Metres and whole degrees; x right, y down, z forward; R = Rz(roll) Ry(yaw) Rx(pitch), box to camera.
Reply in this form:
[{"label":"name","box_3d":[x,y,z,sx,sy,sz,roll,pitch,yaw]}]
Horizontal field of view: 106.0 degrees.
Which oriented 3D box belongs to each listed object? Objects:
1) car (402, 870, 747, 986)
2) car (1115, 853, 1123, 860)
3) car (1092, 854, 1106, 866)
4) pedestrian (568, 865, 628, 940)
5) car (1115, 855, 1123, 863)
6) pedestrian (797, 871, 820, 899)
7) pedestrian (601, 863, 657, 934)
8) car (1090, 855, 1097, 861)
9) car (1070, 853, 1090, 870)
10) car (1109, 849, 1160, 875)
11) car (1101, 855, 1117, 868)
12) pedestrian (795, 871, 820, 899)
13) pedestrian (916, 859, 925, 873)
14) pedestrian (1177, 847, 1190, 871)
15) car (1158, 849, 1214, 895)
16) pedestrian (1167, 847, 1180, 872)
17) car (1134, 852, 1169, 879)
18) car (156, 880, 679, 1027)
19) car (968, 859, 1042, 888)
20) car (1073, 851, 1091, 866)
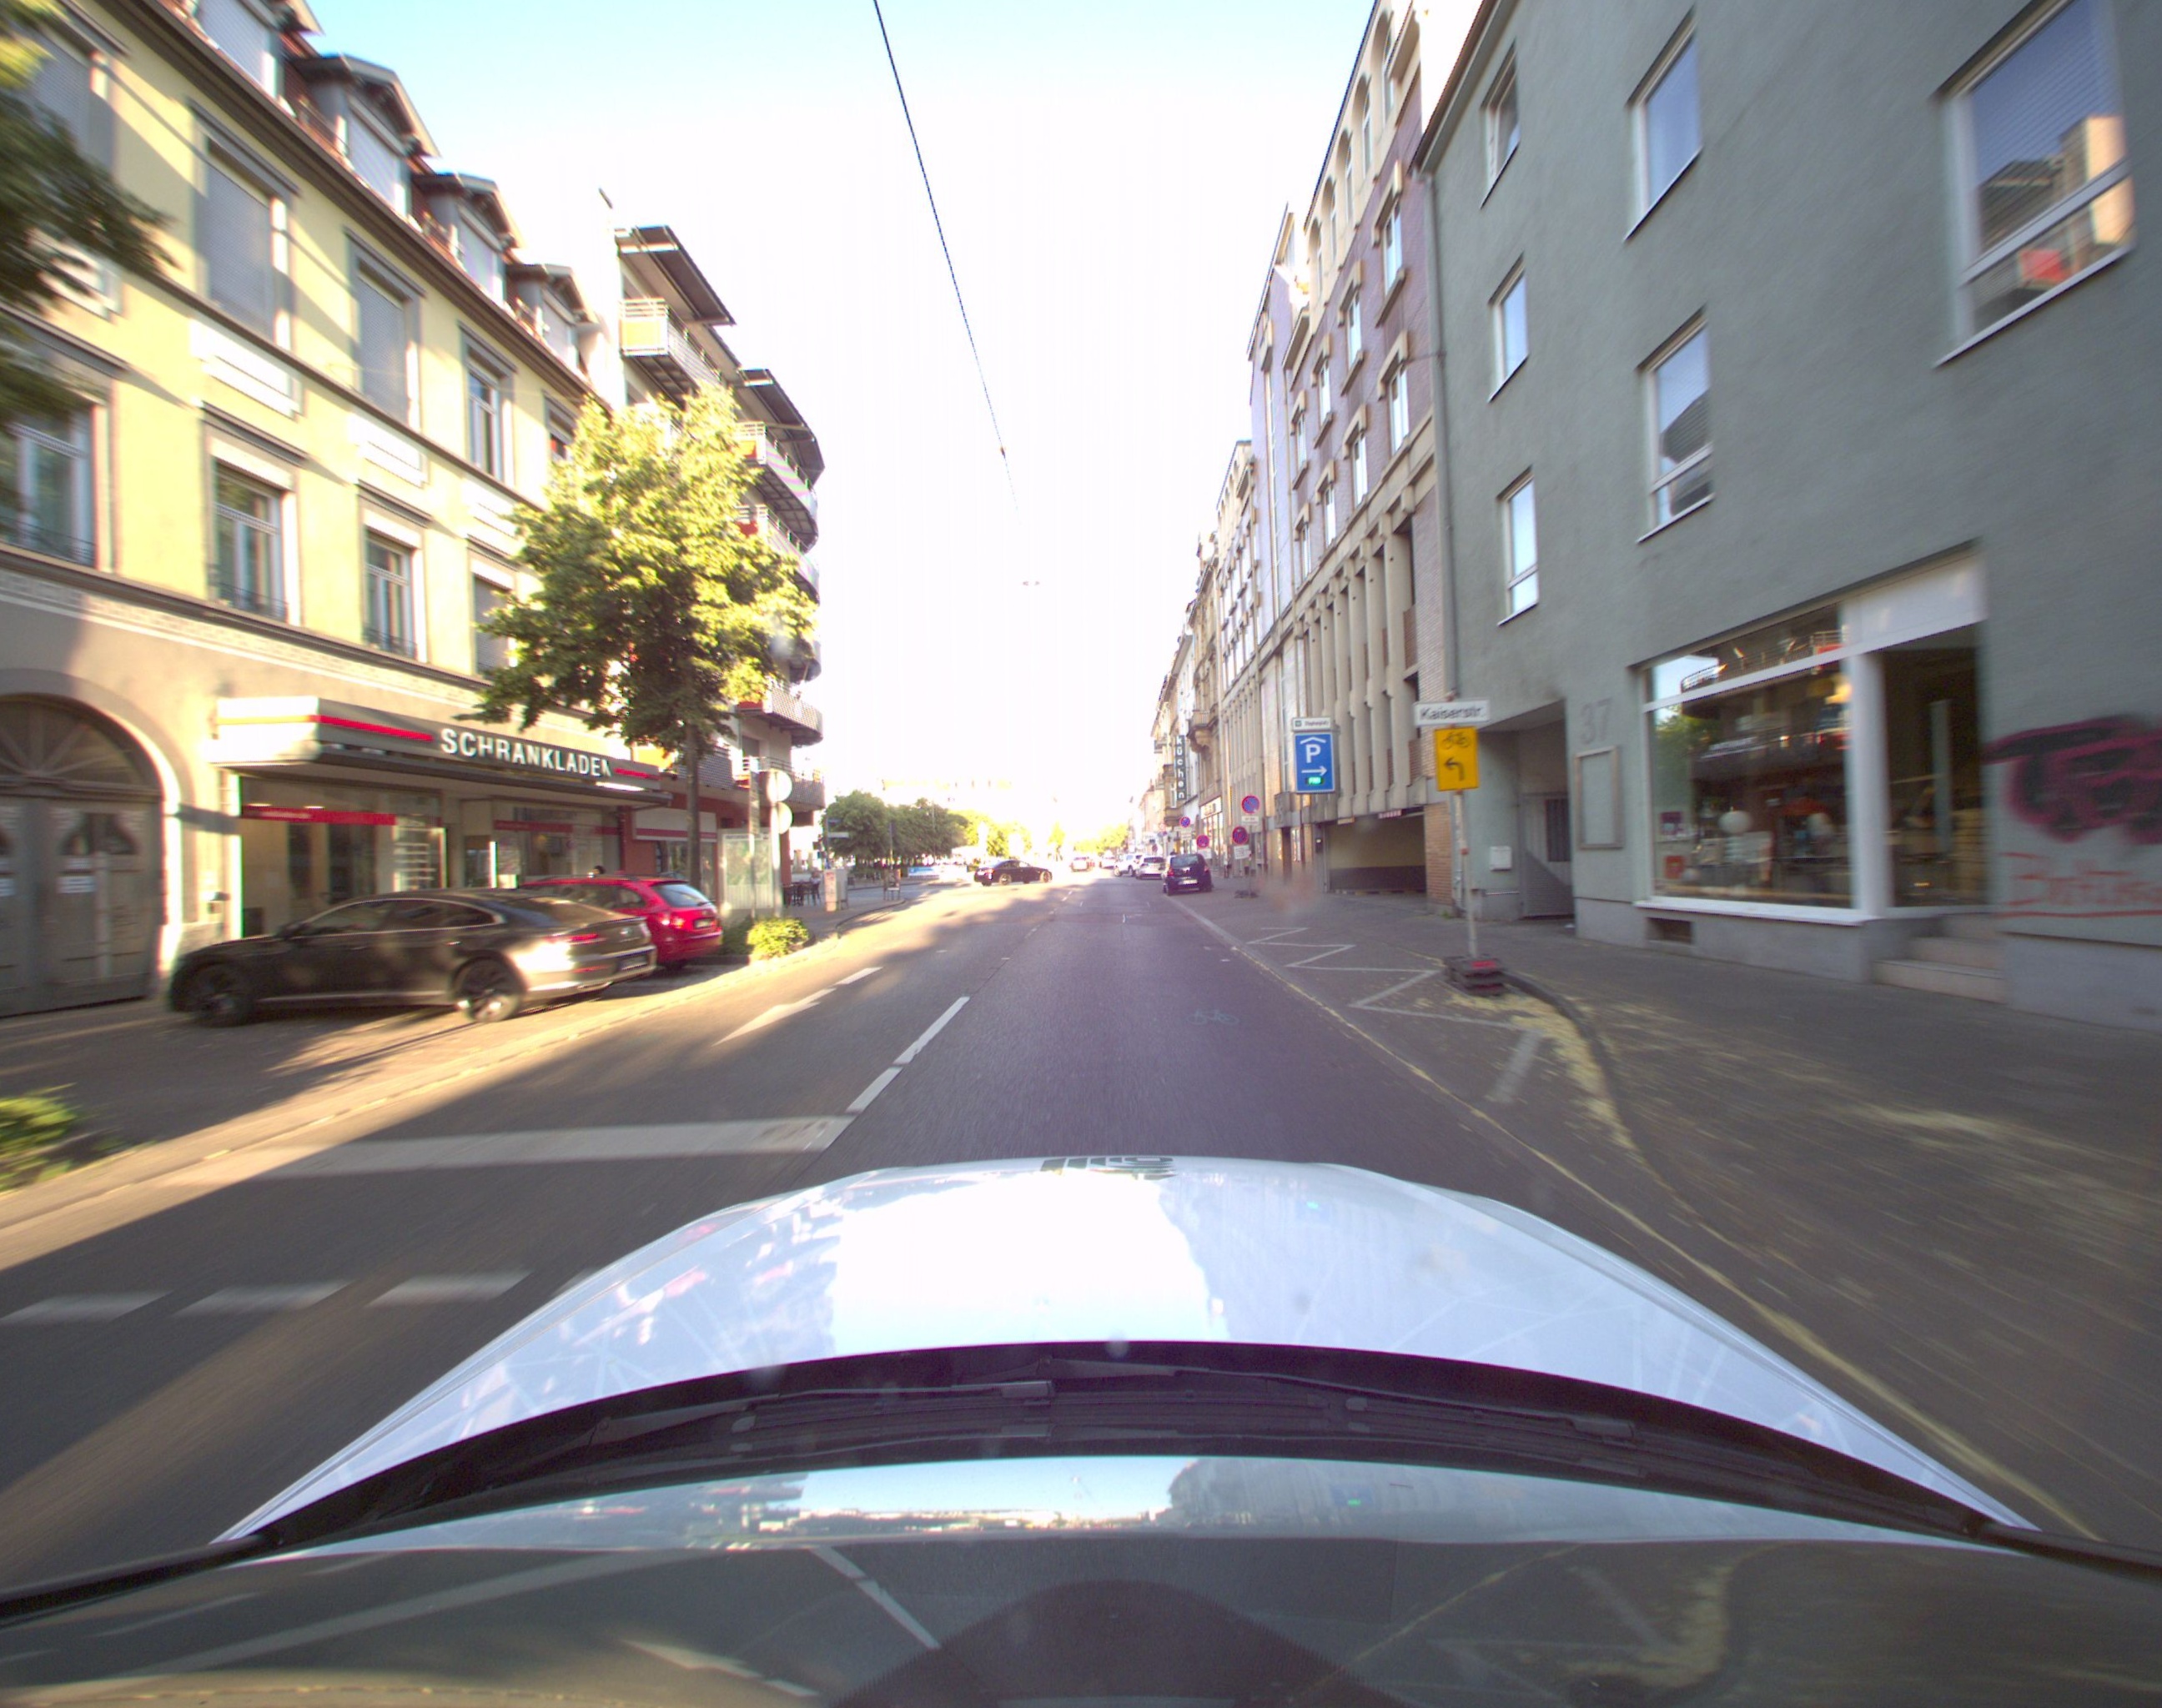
[{"label":"car","box_3d":[-7.541,1.058,12.426,4.057,1.536,1.885,-1,0,1]},{"label":"car","box_3d":[9.578,0.565,203.462,1.890,1.581,3.852,-2,0,1]},{"label":"car","box_3d":[2.469,0.844,112.716,1.890,1.581,3.852,1,0,1]},{"label":"pedestrian","box_3d":[-10.695,1.058,18.061,0.769,1.608,0.876,-1,-2,2]},{"label":"car","box_3d":[8.607,1.127,184.955,1.890,1.581,3.852,0,0,1]},{"label":"pedestrian","box_3d":[-12.797,1.452,38.242,0.826,1.273,0.747,-3,-2,-7]},{"label":"pedestrian","box_3d":[-10.050,0.977,18.141,0.731,1.528,0.876,-1,-2,2]},{"label":"car","box_3d":[3.234,0.961,207.344,1.773,1.547,4.001,-2,0,1]},{"label":"car","box_3d":[-0.116,0.752,83.824,1.890,1.649,4.105,-2,0,1]},{"label":"car","box_3d":[3.826,0.609,59.049,2.001,1.761,4.435,-2,0,-20]},{"label":"car","box_3d":[3.390,0.919,98.864,1.890,1.581,4.001,0,0,1]},{"label":"pedestrian","box_3d":[-12.596,1.440,37.488,0.897,1.242,0.766,-3,-2,-7]},{"label":"pedestrian","box_3d":[-17.917,1.345,90.918,0.672,1.595,0.680,-2,0,21]},{"label":"pedestrian","box_3d":[7.557,0.389,59.989,0.770,1.711,1.042,-4,0,1]},{"label":"car","box_3d":[4.032,0.647,31.923,1.752,1.536,4.003,-5,0,3]},{"label":"pedestrian","box_3d":[6.781,0.391,59.936,0.770,1.827,1.011,-4,0,1]},{"label":"car","box_3d":[4.324,0.708,50.494,1.753,1.536,4.820,0,-1,0]},{"label":"car","box_3d":[-7.446,1.079,9.505,4.555,1.407,1.821,-1,0,0]},{"label":"car","box_3d":[-4.273,1.076,46.401,1.878,1.581,4.025,-1,0,40]},{"label":"car","box_3d":[0.125,0.490,92.383,1.890,1.649,4.105,-2,0,1]}]
